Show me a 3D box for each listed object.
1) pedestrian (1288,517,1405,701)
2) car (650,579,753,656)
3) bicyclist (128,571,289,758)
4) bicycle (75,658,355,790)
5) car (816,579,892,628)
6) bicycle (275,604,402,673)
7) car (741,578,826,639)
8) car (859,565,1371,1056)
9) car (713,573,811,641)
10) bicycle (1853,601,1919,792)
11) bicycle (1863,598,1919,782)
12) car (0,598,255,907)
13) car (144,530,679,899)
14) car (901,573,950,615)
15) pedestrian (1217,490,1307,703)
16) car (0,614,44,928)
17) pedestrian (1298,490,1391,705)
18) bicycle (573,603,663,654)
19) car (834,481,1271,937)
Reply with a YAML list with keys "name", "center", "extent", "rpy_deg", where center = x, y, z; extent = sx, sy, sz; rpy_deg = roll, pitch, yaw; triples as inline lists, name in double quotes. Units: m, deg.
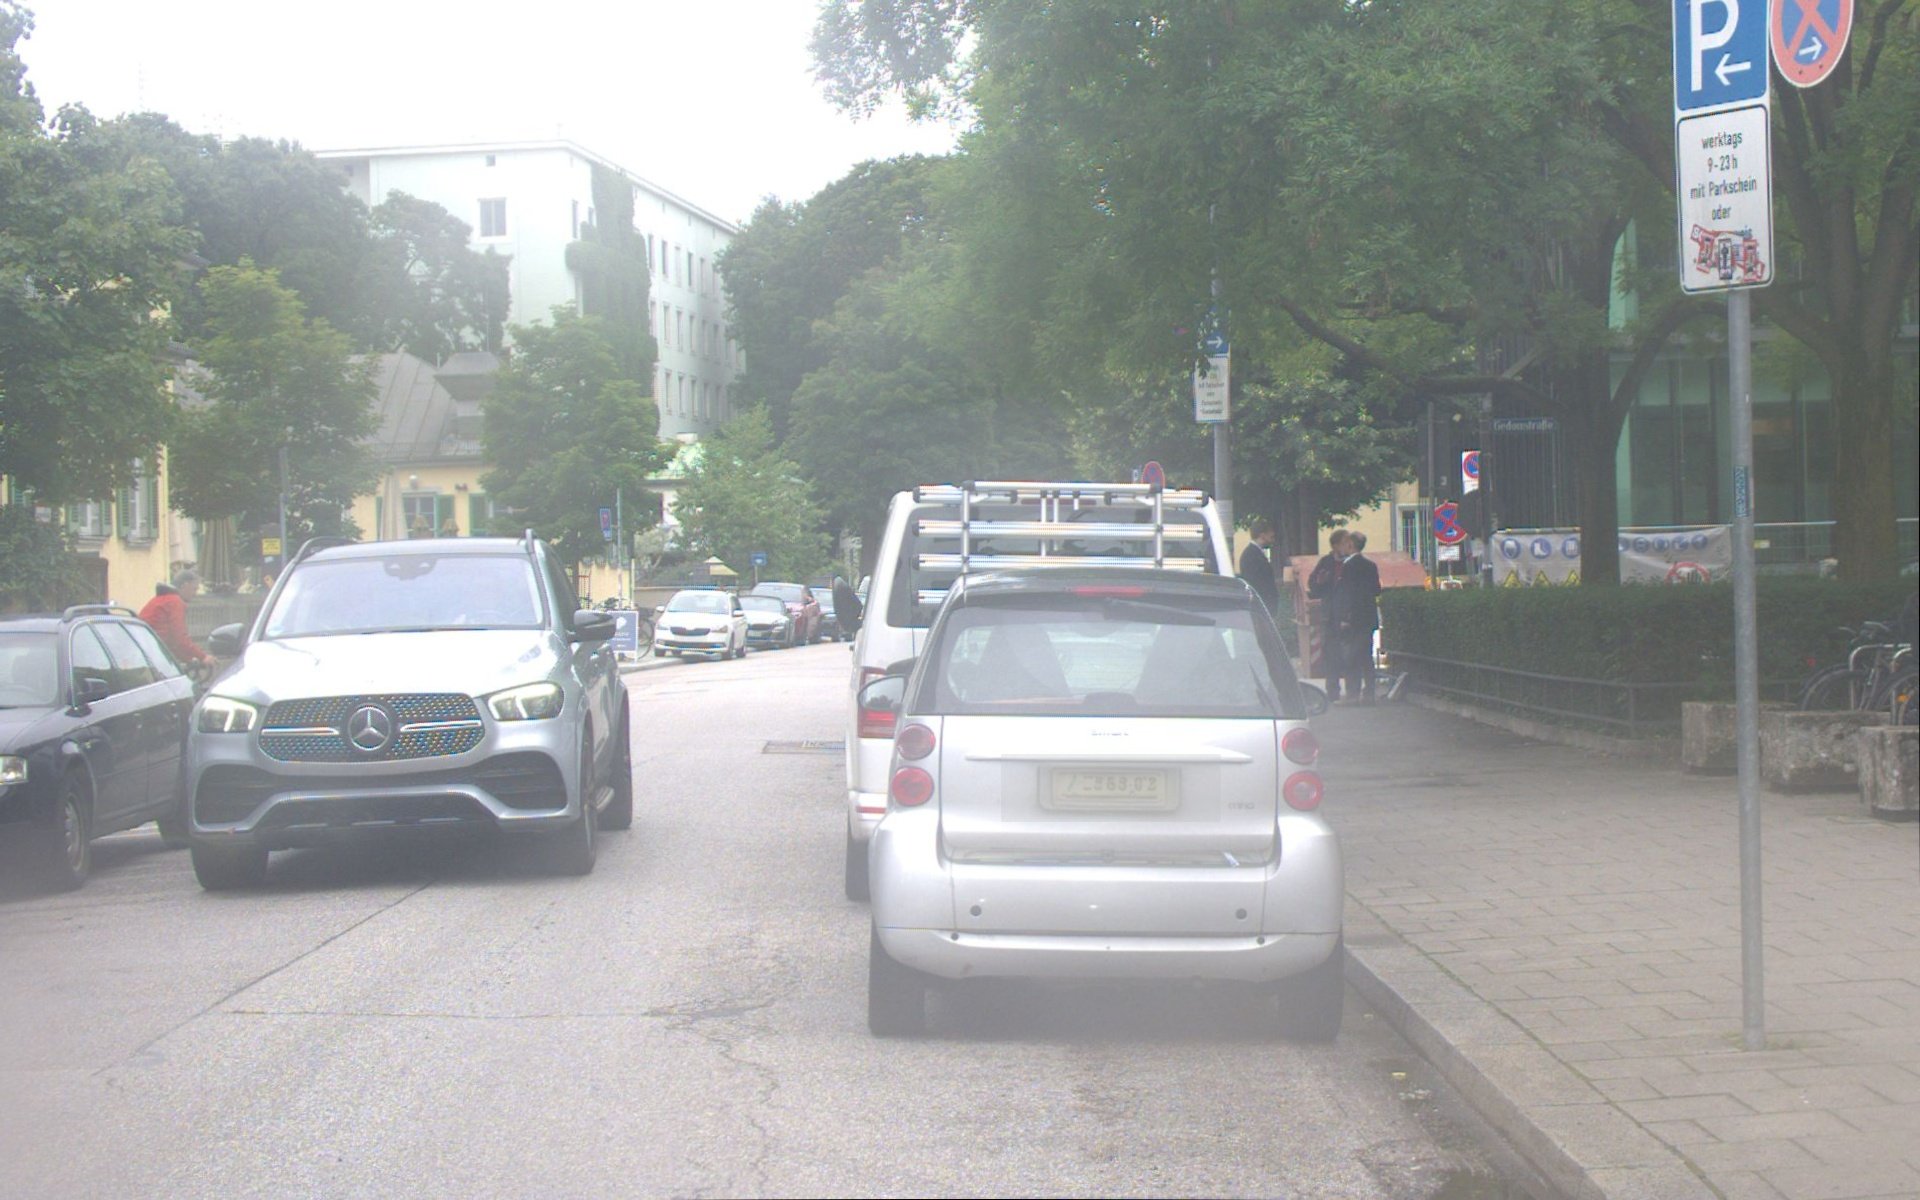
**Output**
- name: "pedestrian"
  center: [4.076, 0.090, 36.224]
  extent: [0.744, 1.901, 1.054]
  rpy_deg: [-2, 0, 35]
- name: "car"
  center: [-5.633, 0.364, 75.274]
  extent: [1.734, 1.576, 3.787]
  rpy_deg: [2, 0, 3]
- name: "bicyclist"
  center: [-6.145, 0.524, 28.115]
  extent: [1.091, 1.492, 0.674]
  rpy_deg: [-1, -1, -32]
- name: "bicycle"
  center: [-6.086, 1.006, 28.143]
  extent: [2.133, 1.001, 0.623]
  rpy_deg: [-1, -1, -33]
- name: "car"
  center: [-3.393, 0.097, 110.784]
  extent: [1.994, 1.481, 3.999]
  rpy_deg: [-1, 1, 4]
- name: "bicycle"
  center: [-10.104, 0.622, 55.899]
  extent: [1.931, 1.095, 0.615]
  rpy_deg: [1, 0, 3]
- name: "car"
  center: [-4.757, 0.247, 92.941]
  extent: [1.993, 1.597, 4.000]
  rpy_deg: [-1, -1, 1]
- name: "car"
  center: [0.490, 0.657, 12.399]
  extent: [1.605, 1.541, 2.934]
  rpy_deg: [1, 0, 0]
- name: "car"
  center: [-5.028, 0.150, 87.860]
  extent: [1.994, 1.643, 4.655]
  rpy_deg: [-1, 0, 3]
- name: "bicycle"
  center: [6.377, 0.537, 20.498]
  extent: [1.931, 1.110, 0.471]
  rpy_deg: [-2, 0, 2]
- name: "bicycle"
  center: [6.641, 0.517, 21.288]
  extent: [1.931, 1.110, 0.471]
  rpy_deg: [-2, 0, 2]
- name: "car"
  center: [-5.523, 0.790, 19.335]
  extent: [1.993, 1.486, 4.883]
  rpy_deg: [-3, 0, 1]
- name: "car"
  center: [-2.799, 0.523, 18.662]
  extent: [2.025, 1.683, 4.677]
  rpy_deg: [-2, 1, 1]
- name: "car"
  center: [-1.399, -0.256, 142.115]
  extent: [1.810, 1.677, 4.000]
  rpy_deg: [-1, 1, 2]
- name: "pedestrian"
  center: [3.093, -0.035, 35.322]
  extent: [0.742, 2.127, 1.056]
  rpy_deg: [-2, 0, -1]
- name: "car"
  center: [-5.328, 0.834, 14.072]
  extent: [1.922, 1.434, 4.918]
  rpy_deg: [-3, 0, -2]
- name: "pedestrian"
  center: [3.910, -0.028, 35.011]
  extent: [0.742, 2.127, 1.056]
  rpy_deg: [-2, 0, -1]
- name: "bicycle"
  center: [-7.029, 0.579, 70.771]
  extent: [0.623, 1.001, 2.136]
  rpy_deg: [2, 1, 33]
- name: "car"
  center: [0.339, 0.453, 17.499]
  extent: [1.845, 1.926, 5.273]
  rpy_deg: [1, 0, -1]
